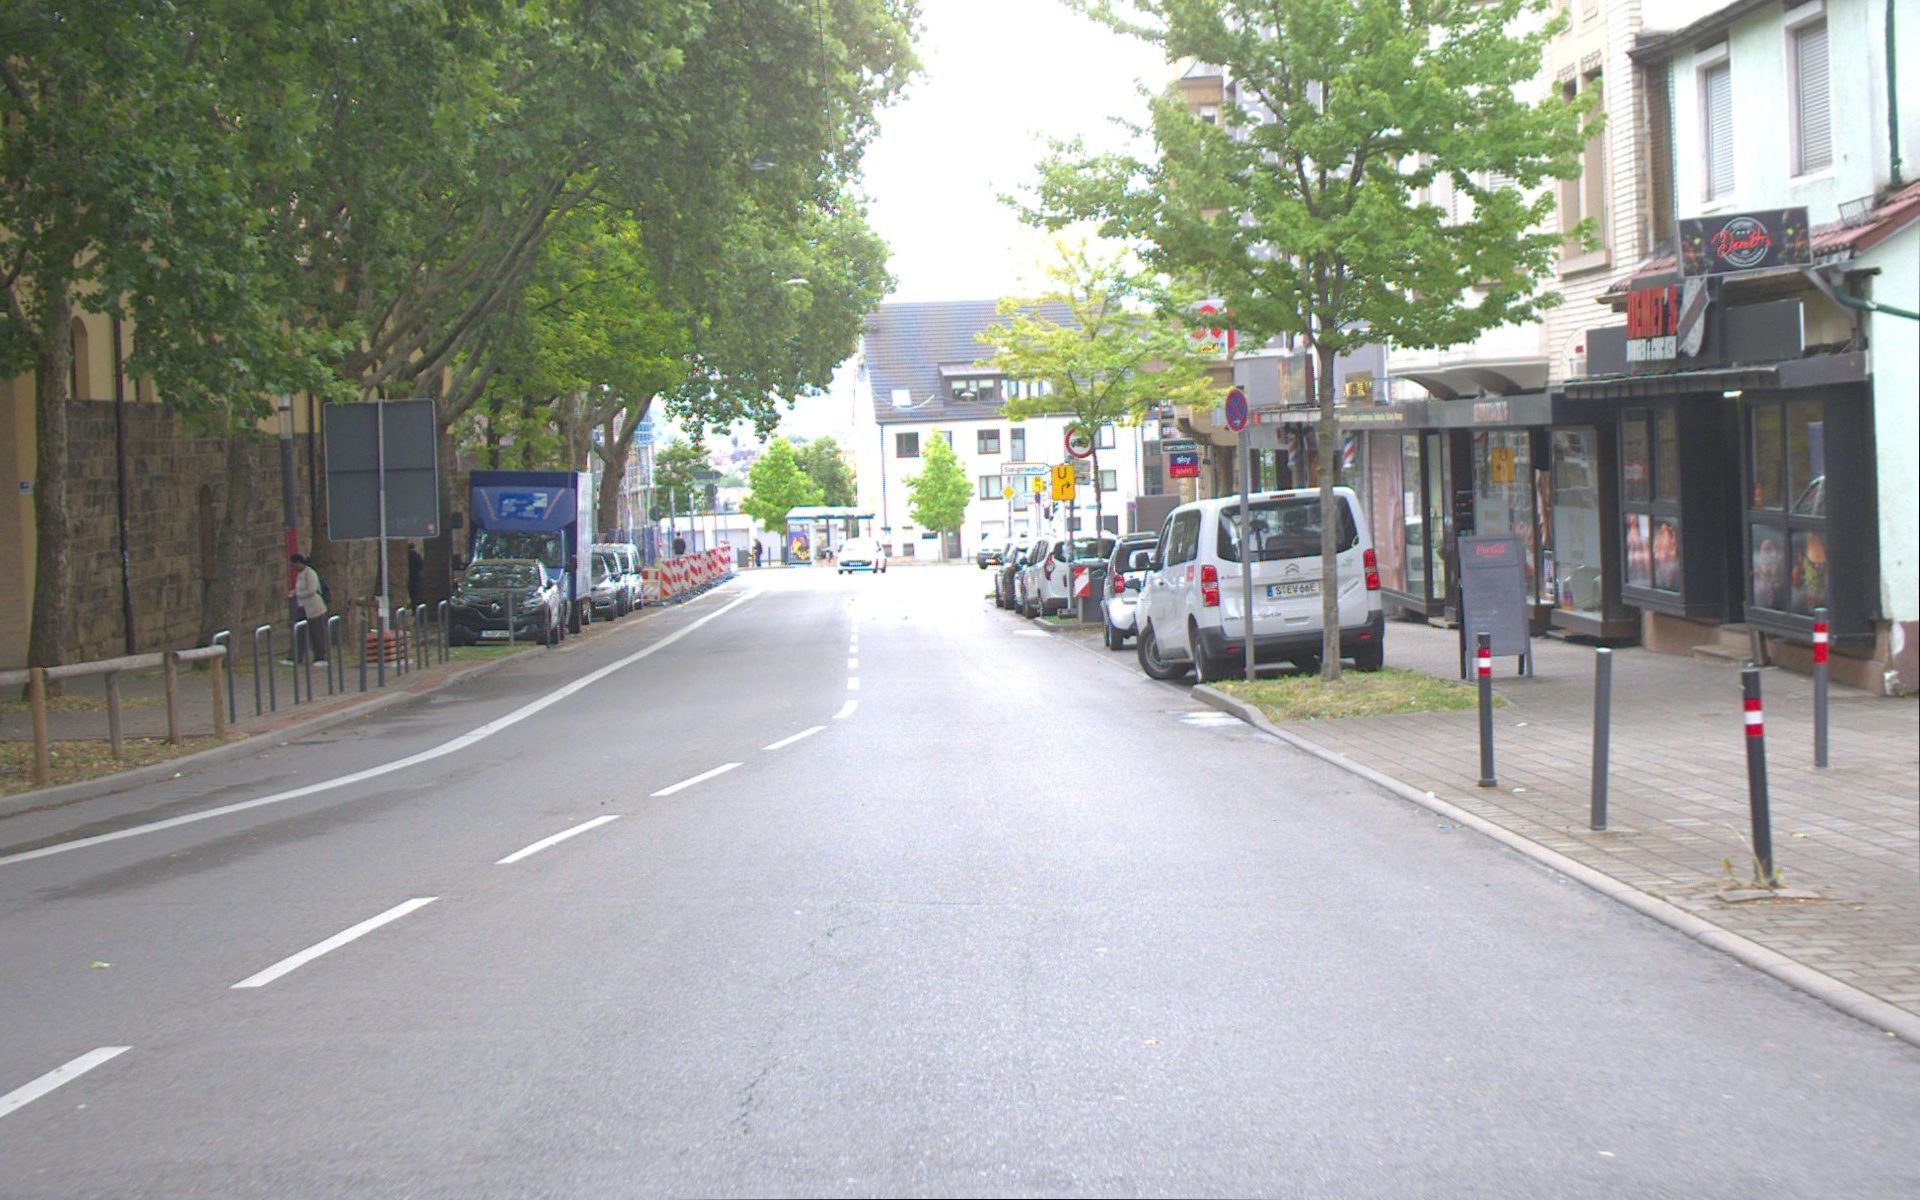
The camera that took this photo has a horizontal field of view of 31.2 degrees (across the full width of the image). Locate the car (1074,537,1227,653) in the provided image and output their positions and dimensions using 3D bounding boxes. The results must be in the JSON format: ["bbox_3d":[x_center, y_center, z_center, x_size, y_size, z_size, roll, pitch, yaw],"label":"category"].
[{"bbox_3d":[2.690,-0.104,49.222,1.668,1.542,3.757,-2,1,-4],"label":"car"}]

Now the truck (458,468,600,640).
[{"bbox_3d":[-8.918,-0.982,71.777,2.230,3.335,7.450,-2,1,-2],"label":"truck"}]

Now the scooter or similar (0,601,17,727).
[{"bbox_3d":[-9.558,0.623,32.746,1.028,1.180,0.491,-2,1,-10],"label":"scooter or similar"}]

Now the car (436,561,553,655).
[{"bbox_3d":[-8.423,0.117,62.402,1.834,1.572,3.757,-2,1,-4],"label":"car"}]

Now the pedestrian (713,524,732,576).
[{"bbox_3d":[-9.321,-1.958,134.904,0.633,2.007,0.784,-2,1,0],"label":"pedestrian"}]

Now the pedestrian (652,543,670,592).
[{"bbox_3d":[-12.309,-1.360,141.564,0.633,1.988,0.784,-2,1,0],"label":"pedestrian"}]

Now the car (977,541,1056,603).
[{"bbox_3d":[1.445,-0.743,89.588,1.668,1.542,3.757,-2,1,-4],"label":"car"}]

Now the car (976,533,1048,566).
[{"bbox_3d":[2.433,-2.354,160.712,1.679,1.419,4.169,-1,1,27],"label":"car"}]

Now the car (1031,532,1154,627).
[{"bbox_3d":[2.254,-0.379,59.315,1.668,1.542,3.757,-2,1,-4],"label":"car"}]

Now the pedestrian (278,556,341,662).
[{"bbox_3d":[-9.608,0.131,50.757,0.672,1.531,0.611,-2,1,-34],"label":"pedestrian"}]

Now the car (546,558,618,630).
[{"bbox_3d":[-9.123,-0.161,83.123,1.533,1.633,3.719,-2,1,-4],"label":"car"}]

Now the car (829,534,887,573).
[{"bbox_3d":[-4.173,-1.933,141.707,1.864,1.484,3.879,-2,1,6],"label":"car"}]

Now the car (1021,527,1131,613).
[{"bbox_3d":[2.186,-0.591,65.703,1.668,1.542,3.757,-2,1,-4],"label":"car"}]

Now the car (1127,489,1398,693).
[{"bbox_3d":[3.076,-0.133,36.009,1.993,1.929,4.920,-2,1,-4],"label":"car"}]

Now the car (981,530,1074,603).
[{"bbox_3d":[1.484,-0.757,76.754,1.668,1.542,3.757,-2,1,-4],"label":"car"}]
